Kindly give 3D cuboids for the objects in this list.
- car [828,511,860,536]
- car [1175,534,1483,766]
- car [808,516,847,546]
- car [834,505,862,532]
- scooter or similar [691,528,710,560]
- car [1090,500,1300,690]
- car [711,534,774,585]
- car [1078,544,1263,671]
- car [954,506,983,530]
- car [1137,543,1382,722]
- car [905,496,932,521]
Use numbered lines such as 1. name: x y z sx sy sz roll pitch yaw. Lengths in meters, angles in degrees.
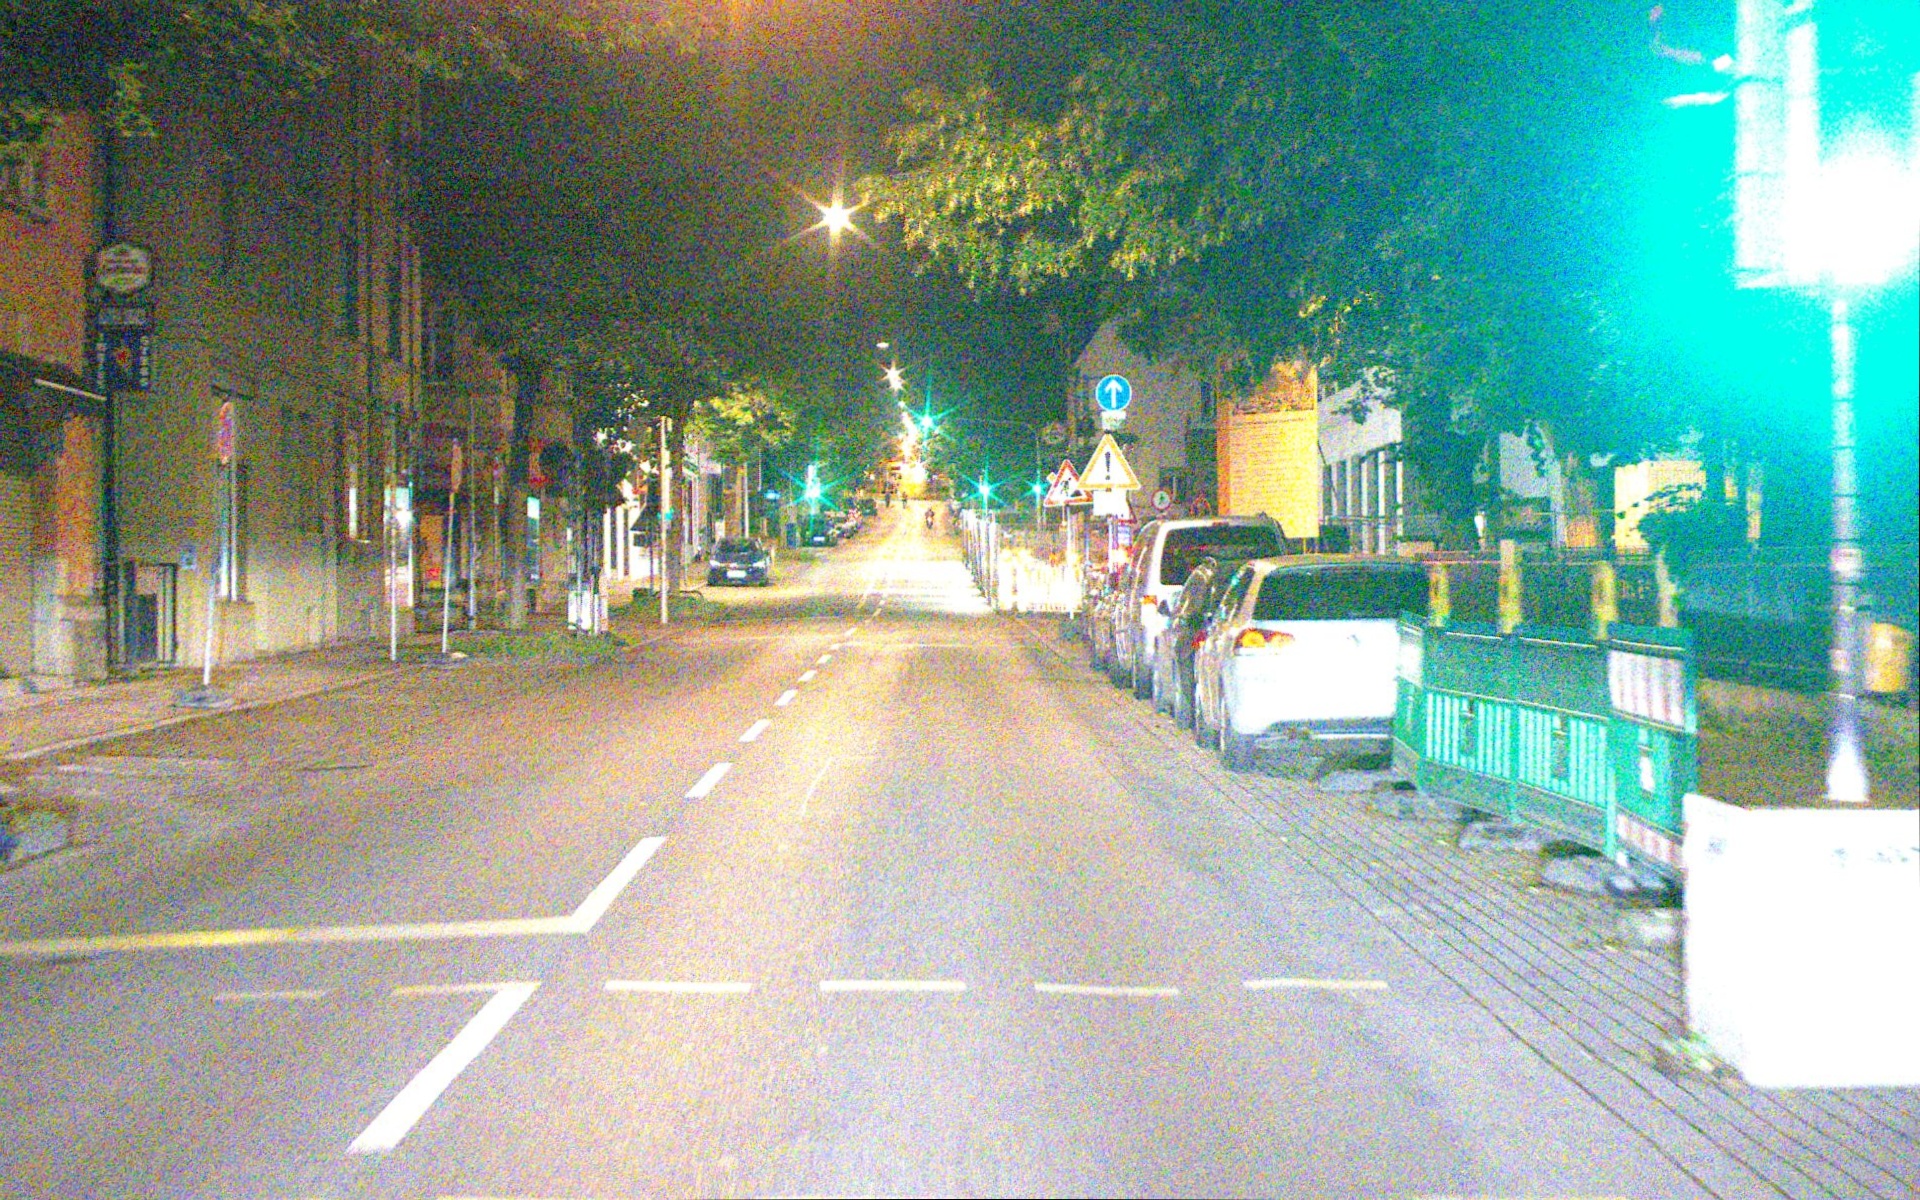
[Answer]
1. car: -7.177 -4.756 212.979 1.873 1.539 4.205 0 2 -1
2. car: 2.593 0.302 24.960 1.739 1.472 4.000 -3 1 0
3. car: -6.752 -3.524 175.269 1.873 1.539 4.205 0 2 -1
4. car: -7.704 -5.637 236.906 1.873 1.808 4.205 0 2 -1
5. scooter or similar: -9.733 -2.093 129.094 0.528 1.161 2.507 -2 0 -1
6. car: 2.407 -0.081 36.127 1.735 1.849 4.317 -1 1 -2
7. car: -6.498 -1.231 102.987 1.671 1.438 4.205 0 2 -1
8. car: 2.465 0.051 41.122 1.727 1.414 4.324 0 1 -3
9. car: 0.562 -5.400 225.646 1.873 1.539 4.205 0 2 -1
10. car: 2.548 0.225 30.125 1.686 1.416 4.444 -1 1 -1
11. car: -3.029 -6.715 251.731 1.873 1.808 4.205 0 2 0
